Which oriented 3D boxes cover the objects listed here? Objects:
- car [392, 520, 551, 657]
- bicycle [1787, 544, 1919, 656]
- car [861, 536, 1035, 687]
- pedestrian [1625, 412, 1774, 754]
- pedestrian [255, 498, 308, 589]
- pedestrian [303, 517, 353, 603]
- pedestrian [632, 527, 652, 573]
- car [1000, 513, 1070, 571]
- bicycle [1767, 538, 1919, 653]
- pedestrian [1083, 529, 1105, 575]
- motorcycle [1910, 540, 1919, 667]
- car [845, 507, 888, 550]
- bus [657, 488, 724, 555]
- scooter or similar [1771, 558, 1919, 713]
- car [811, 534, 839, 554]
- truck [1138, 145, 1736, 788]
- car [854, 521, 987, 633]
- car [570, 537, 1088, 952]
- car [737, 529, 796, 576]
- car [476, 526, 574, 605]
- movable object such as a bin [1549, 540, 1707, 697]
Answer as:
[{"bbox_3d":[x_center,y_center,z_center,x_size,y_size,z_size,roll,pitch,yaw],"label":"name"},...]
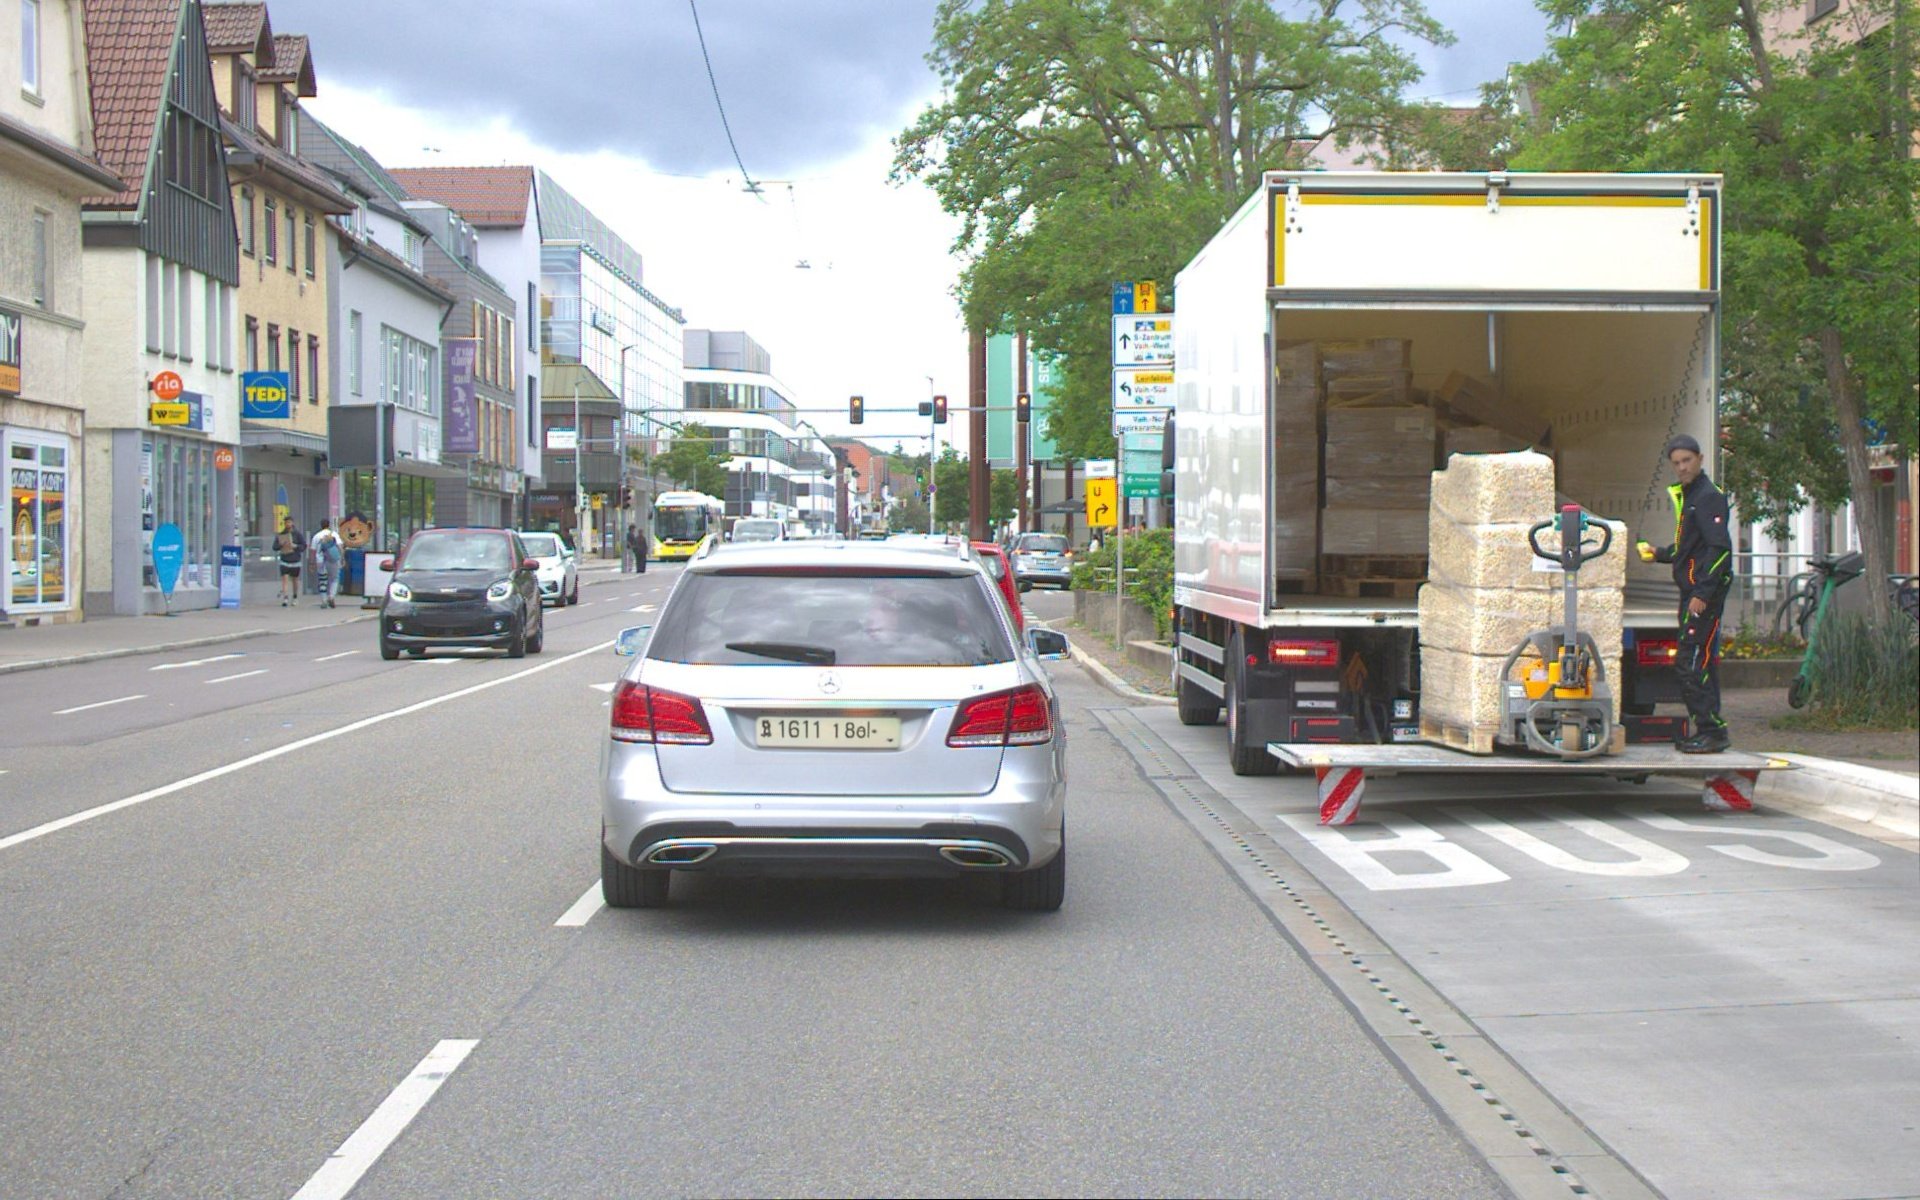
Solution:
[{"bbox_3d":[-5.773,-0.160,40.879,1.570,1.535,2.961,-1,1,-3],"label":"car"},{"bbox_3d":[10.323,-0.005,39.069,1.674,1.254,0.670,0,1,-4],"label":"bicycle"},{"bbox_3d":[-0.137,0.090,36.848,1.754,1.515,4.000,0,1,0],"label":"car"},{"bbox_3d":[3.908,-0.089,18.195,0.613,1.774,0.588,-1,0,-4],"label":"pedestrian"},{"bbox_3d":[-13.407,-1.124,67.956,0.867,1.740,0.806,3,1,-5],"label":"pedestrian"},{"bbox_3d":[-12.298,-0.779,66.927,0.816,1.629,0.980,2,1,-6],"label":"pedestrian"},{"bbox_3d":[-11.625,-1.816,125.523,0.613,1.629,0.588,3,1,-2],"label":"pedestrian"},{"bbox_3d":[2.208,-1.736,102.443,1.993,1.678,4.000,0,1,0],"label":"car"},{"bbox_3d":[10.405,-0.059,39.964,1.816,1.322,0.843,0,1,-4],"label":"bicycle"},{"bbox_3d":[4.866,-1.755,124.948,0.613,1.629,0.588,3,1,-9],"label":"pedestrian"},{"bbox_3d":[9.991,0.046,33.487,0.736,1.266,2.108,-1,1,-4],"label":"motorcycle"},{"bbox_3d":[-4.453,-3.408,163.779,1.993,2.007,4.000,0,1,-1],"label":"car"},{"bbox_3d":[-12.886,-3.745,164.769,2.775,3.154,5.933,0,1,0],"label":"bus"},{"bbox_3d":[7.017,0.269,27.002,1.175,1.192,0.460,-1,1,-9],"label":"scooter or similar"},{"bbox_3d":[-8.593,-3.548,218.976,1.575,1.240,3.607,0,1,0],"label":"car"},{"bbox_3d":[2.884,-0.847,23.878,2.688,3.549,9.767,0,1,-1],"label":"truck"},{"bbox_3d":[-0.596,-0.393,53.496,1.993,1.678,4.000,0,1,0],"label":"car"},{"bbox_3d":[-0.555,0.493,14.530,1.874,1.501,4.001,1,1,-2],"label":"car"},{"bbox_3d":[-6.128,-1.527,109.339,1.617,1.423,3.923,-1,1,0],"label":"car"},{"bbox_3d":[-9.002,-0.707,71.393,1.639,1.562,3.927,-2,0,-2],"label":"car"},{"bbox_3d":[5.848,0.149,30.183,1.143,1.335,1.376,0,1,2],"label":"movable object such as a bin"}]
